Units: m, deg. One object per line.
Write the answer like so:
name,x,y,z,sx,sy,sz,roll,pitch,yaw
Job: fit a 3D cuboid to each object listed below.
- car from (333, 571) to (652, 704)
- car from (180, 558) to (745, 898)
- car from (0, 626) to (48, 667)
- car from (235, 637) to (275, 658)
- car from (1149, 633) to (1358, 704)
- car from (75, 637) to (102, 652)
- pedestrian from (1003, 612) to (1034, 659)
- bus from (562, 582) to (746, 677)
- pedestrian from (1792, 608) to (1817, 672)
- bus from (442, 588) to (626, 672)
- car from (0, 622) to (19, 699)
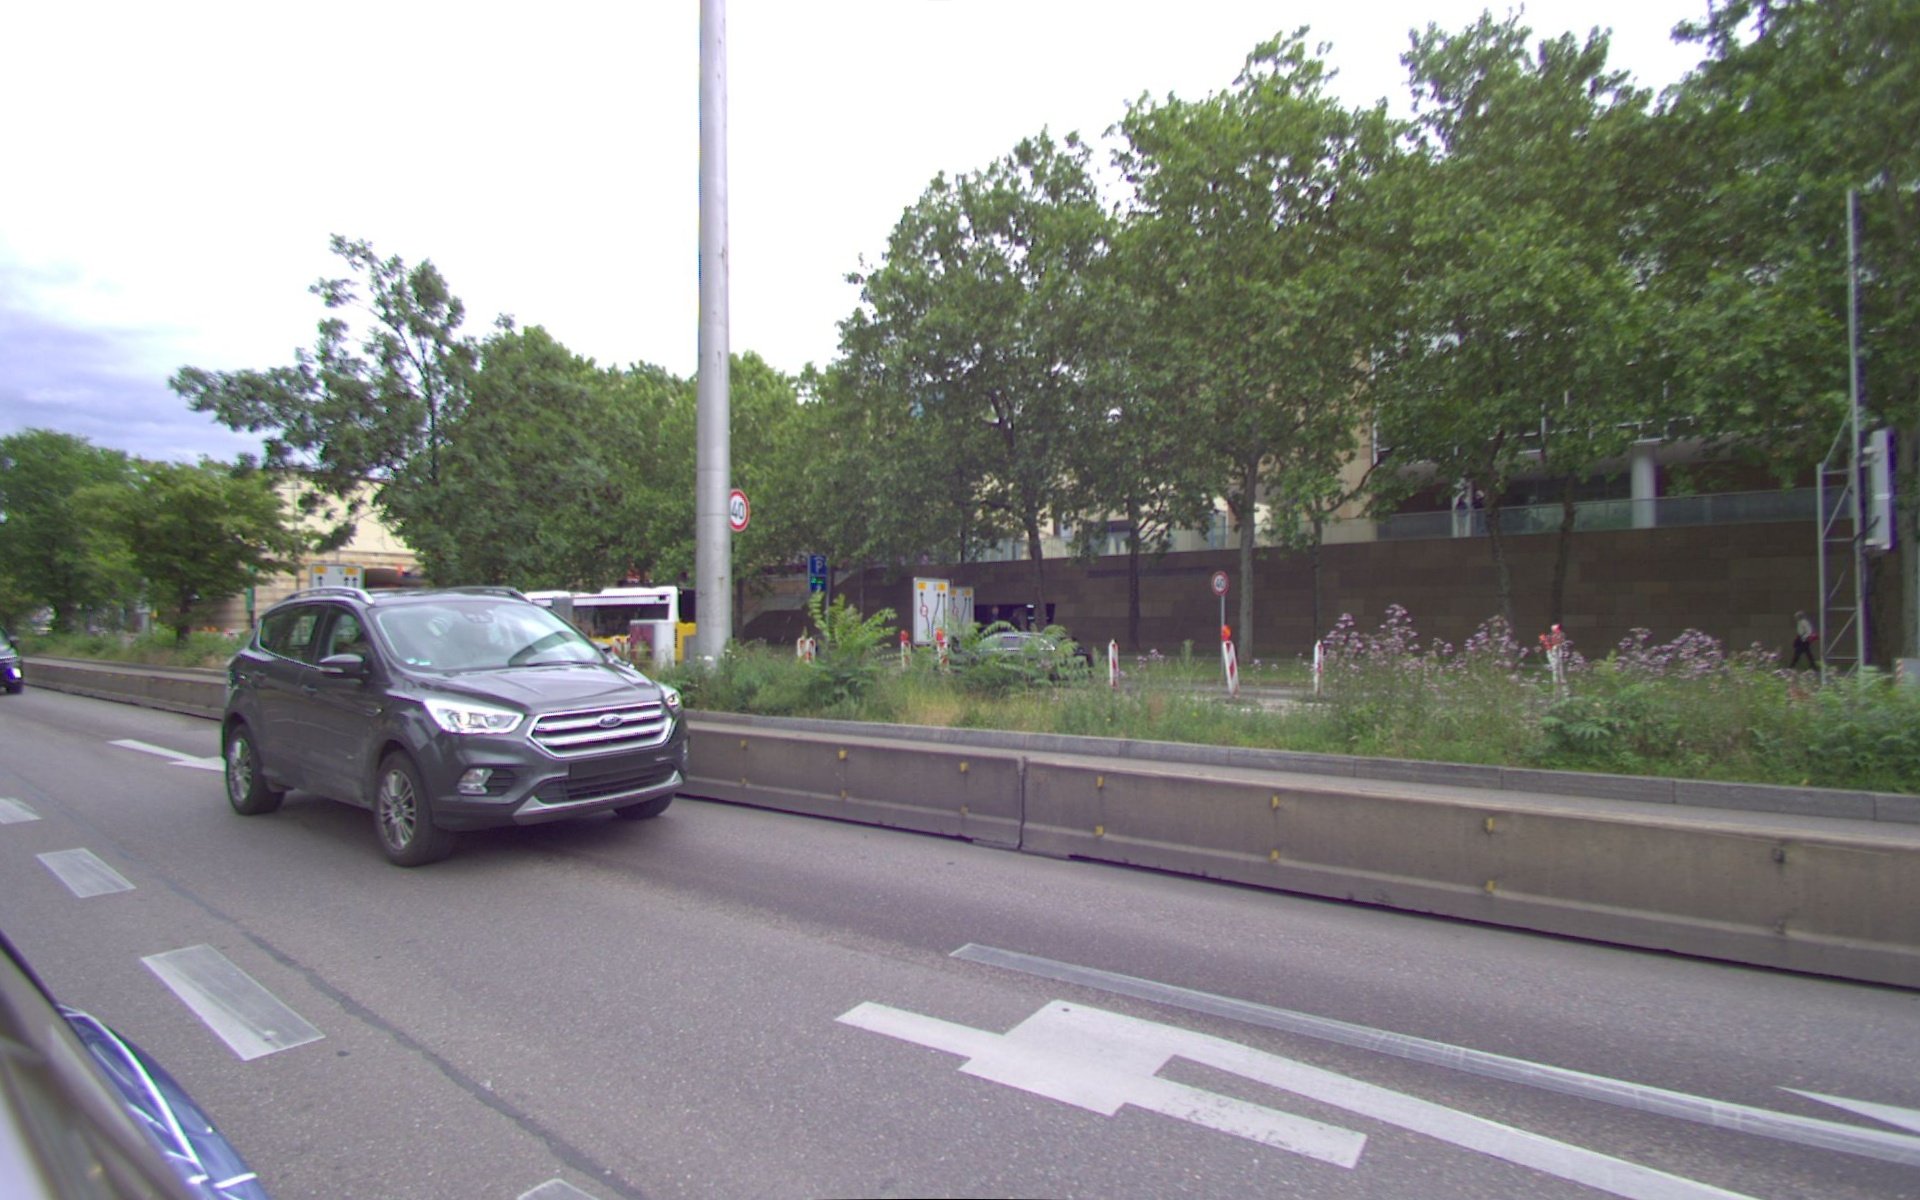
car,-6.410,0.484,13.623,4.803,1.494,1.974,-2,-2,39
car,-3.820,0.707,7.358,4.652,1.728,1.875,-2,-1,38
car,-36.855,1.758,38.855,4.803,1.494,1.974,-2,-2,39
car,-46.727,3.133,67.044,3.052,1.298,1.339,-1,1,39
car,6.300,1.429,21.959,3.997,1.383,1.708,-2,-3,41
car,-87.923,4.479,102.061,3.733,1.298,1.339,-1,1,39
pedestrian,2.353,1.417,40.695,0.987,1.869,0.714,-1,-3,39
bus,-11.857,1.119,38.879,7.695,3.329,2.895,-1,-2,38
pedestrian,21.884,1.031,26.228,0.443,1.619,0.351,-1,1,33
bus,-18.944,1.295,44.562,10.437,3.330,2.884,-1,-2,39
car,-21.269,1.241,21.180,4.148,1.527,1.746,-1,0,39
